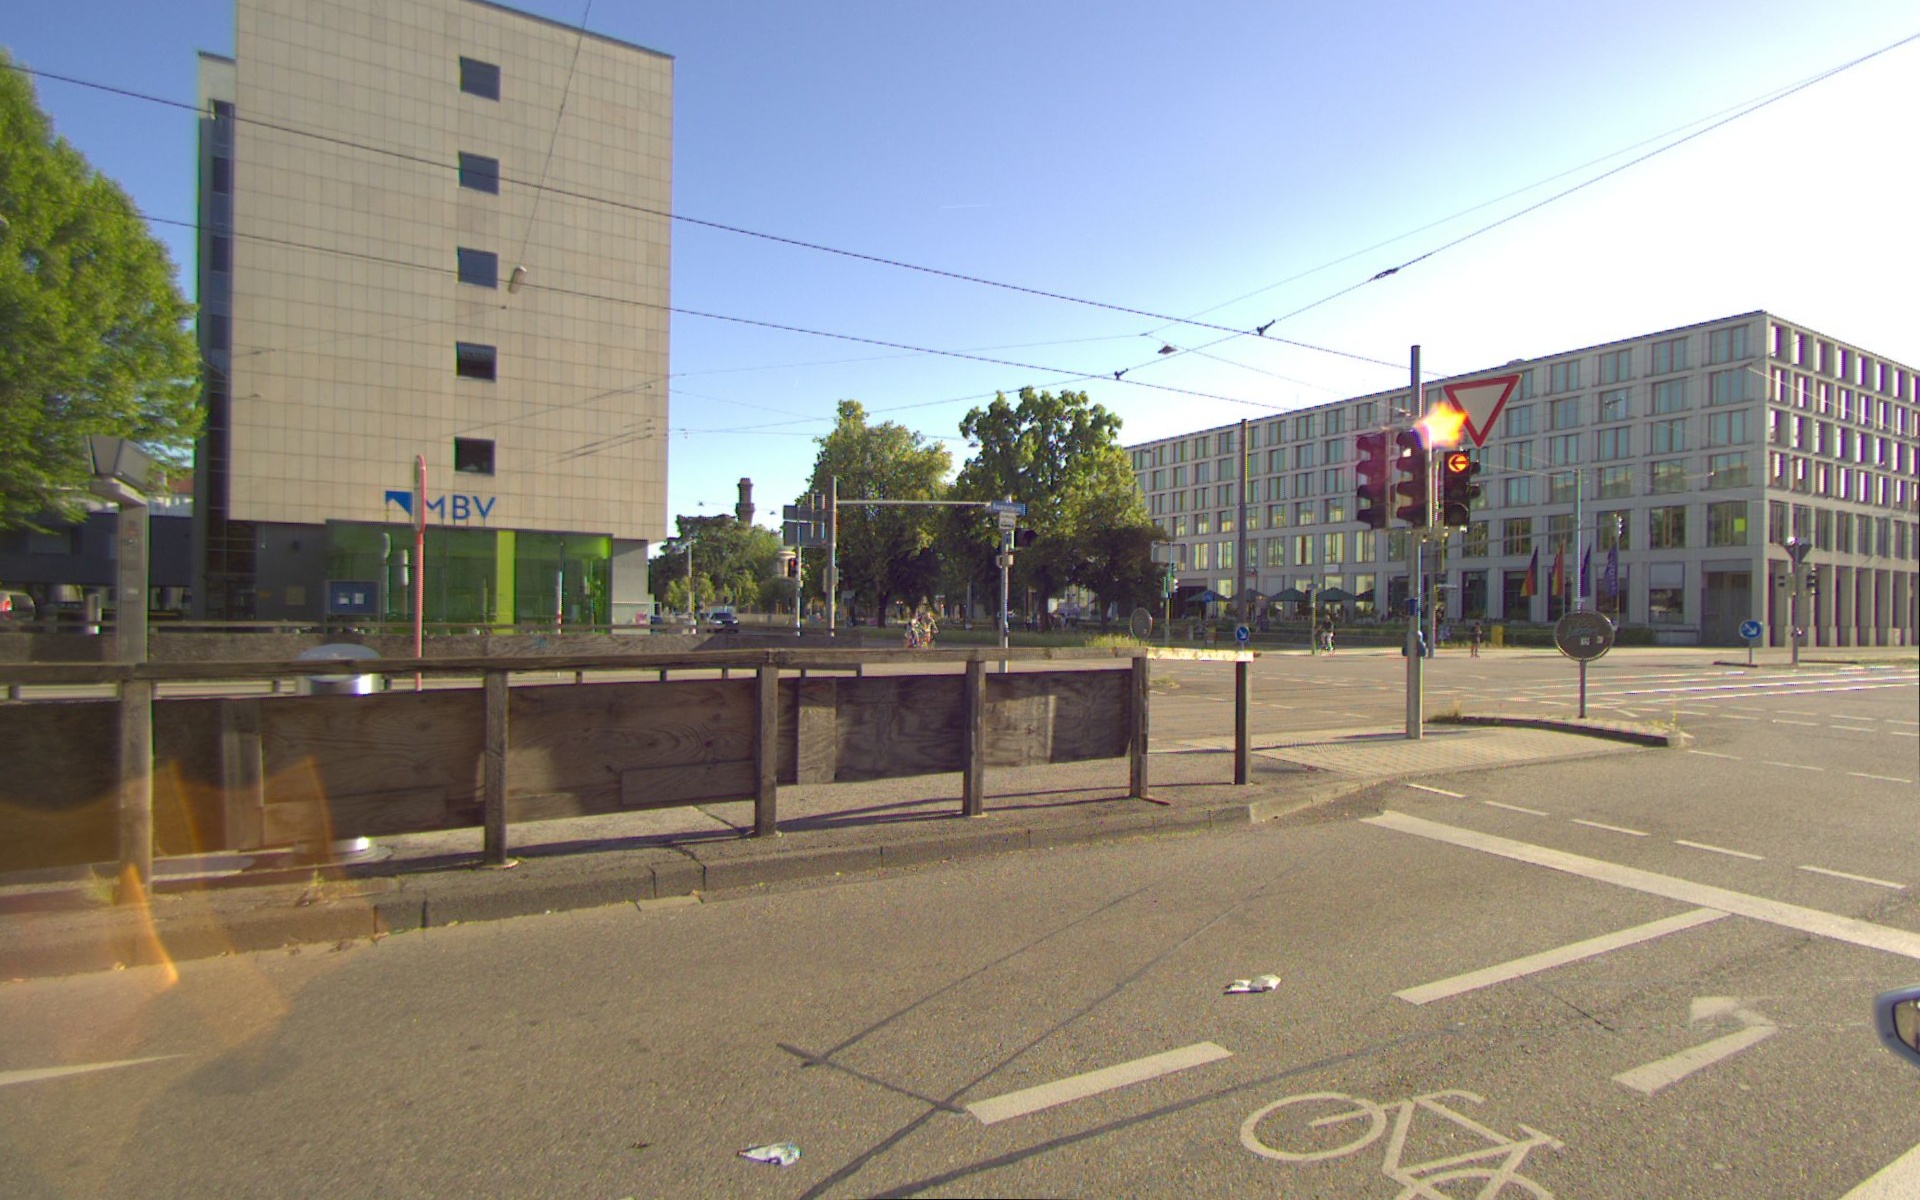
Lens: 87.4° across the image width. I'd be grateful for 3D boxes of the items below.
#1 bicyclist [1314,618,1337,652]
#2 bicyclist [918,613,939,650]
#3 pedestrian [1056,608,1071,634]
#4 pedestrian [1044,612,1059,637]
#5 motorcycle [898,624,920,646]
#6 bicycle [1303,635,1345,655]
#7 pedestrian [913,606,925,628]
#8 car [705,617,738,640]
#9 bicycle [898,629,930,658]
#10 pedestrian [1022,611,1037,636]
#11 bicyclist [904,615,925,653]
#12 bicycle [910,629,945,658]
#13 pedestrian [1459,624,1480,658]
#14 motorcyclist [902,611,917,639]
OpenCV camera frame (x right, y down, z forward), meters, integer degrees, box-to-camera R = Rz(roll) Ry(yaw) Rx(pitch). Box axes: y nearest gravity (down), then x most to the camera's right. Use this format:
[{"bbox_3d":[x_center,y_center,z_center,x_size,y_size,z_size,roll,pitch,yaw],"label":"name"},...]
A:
[{"bbox_3d":[17.942,1.720,49.368,0.764,1.610,0.760,1,0,-11],"label":"bicyclist"},{"bbox_3d":[-1.350,1.336,42.376,0.602,1.544,0.709,1,-1,-32],"label":"bicyclist"},{"bbox_3d":[8.093,1.627,78.593,0.812,2.040,0.841,2,0,-20],"label":"pedestrian"},{"bbox_3d":[7.088,1.881,78.061,0.861,1.925,0.714,2,0,-20],"label":"pedestrian"},{"bbox_3d":[-2.842,1.951,56.111,0.524,1.153,1.449,1,-1,-34],"label":"motorcycle"},{"bbox_3d":[17.893,2.209,49.402,1.831,0.947,0.761,1,-1,-12],"label":"bicycle"},{"bbox_3d":[-3.959,1.624,96.714,0.816,2.040,0.837,2,0,-32],"label":"pedestrian"},{"bbox_3d":[-19.038,2.272,80.023,1.611,1.639,3.623,2,0,-28],"label":"car"},{"bbox_3d":[-1.914,1.788,41.655,0.574,1.148,1.776,1,-1,-30],"label":"bicycle"},{"bbox_3d":[5.487,1.840,79.551,0.863,1.925,0.713,2,0,-27],"label":"pedestrian"},{"bbox_3d":[-1.897,1.393,41.628,0.647,1.544,0.615,1,-1,-32],"label":"bicyclist"},{"bbox_3d":[-1.386,1.824,42.414,0.616,1.148,1.869,1,-1,-31],"label":"bicycle"},{"bbox_3d":[24.887,1.987,49.080,0.767,1.610,0.587,0,-1,45],"label":"pedestrian"},{"bbox_3d":[-2.834,1.398,56.095,0.561,1.598,0.642,1,-1,-34],"label":"motorcyclist"}]
